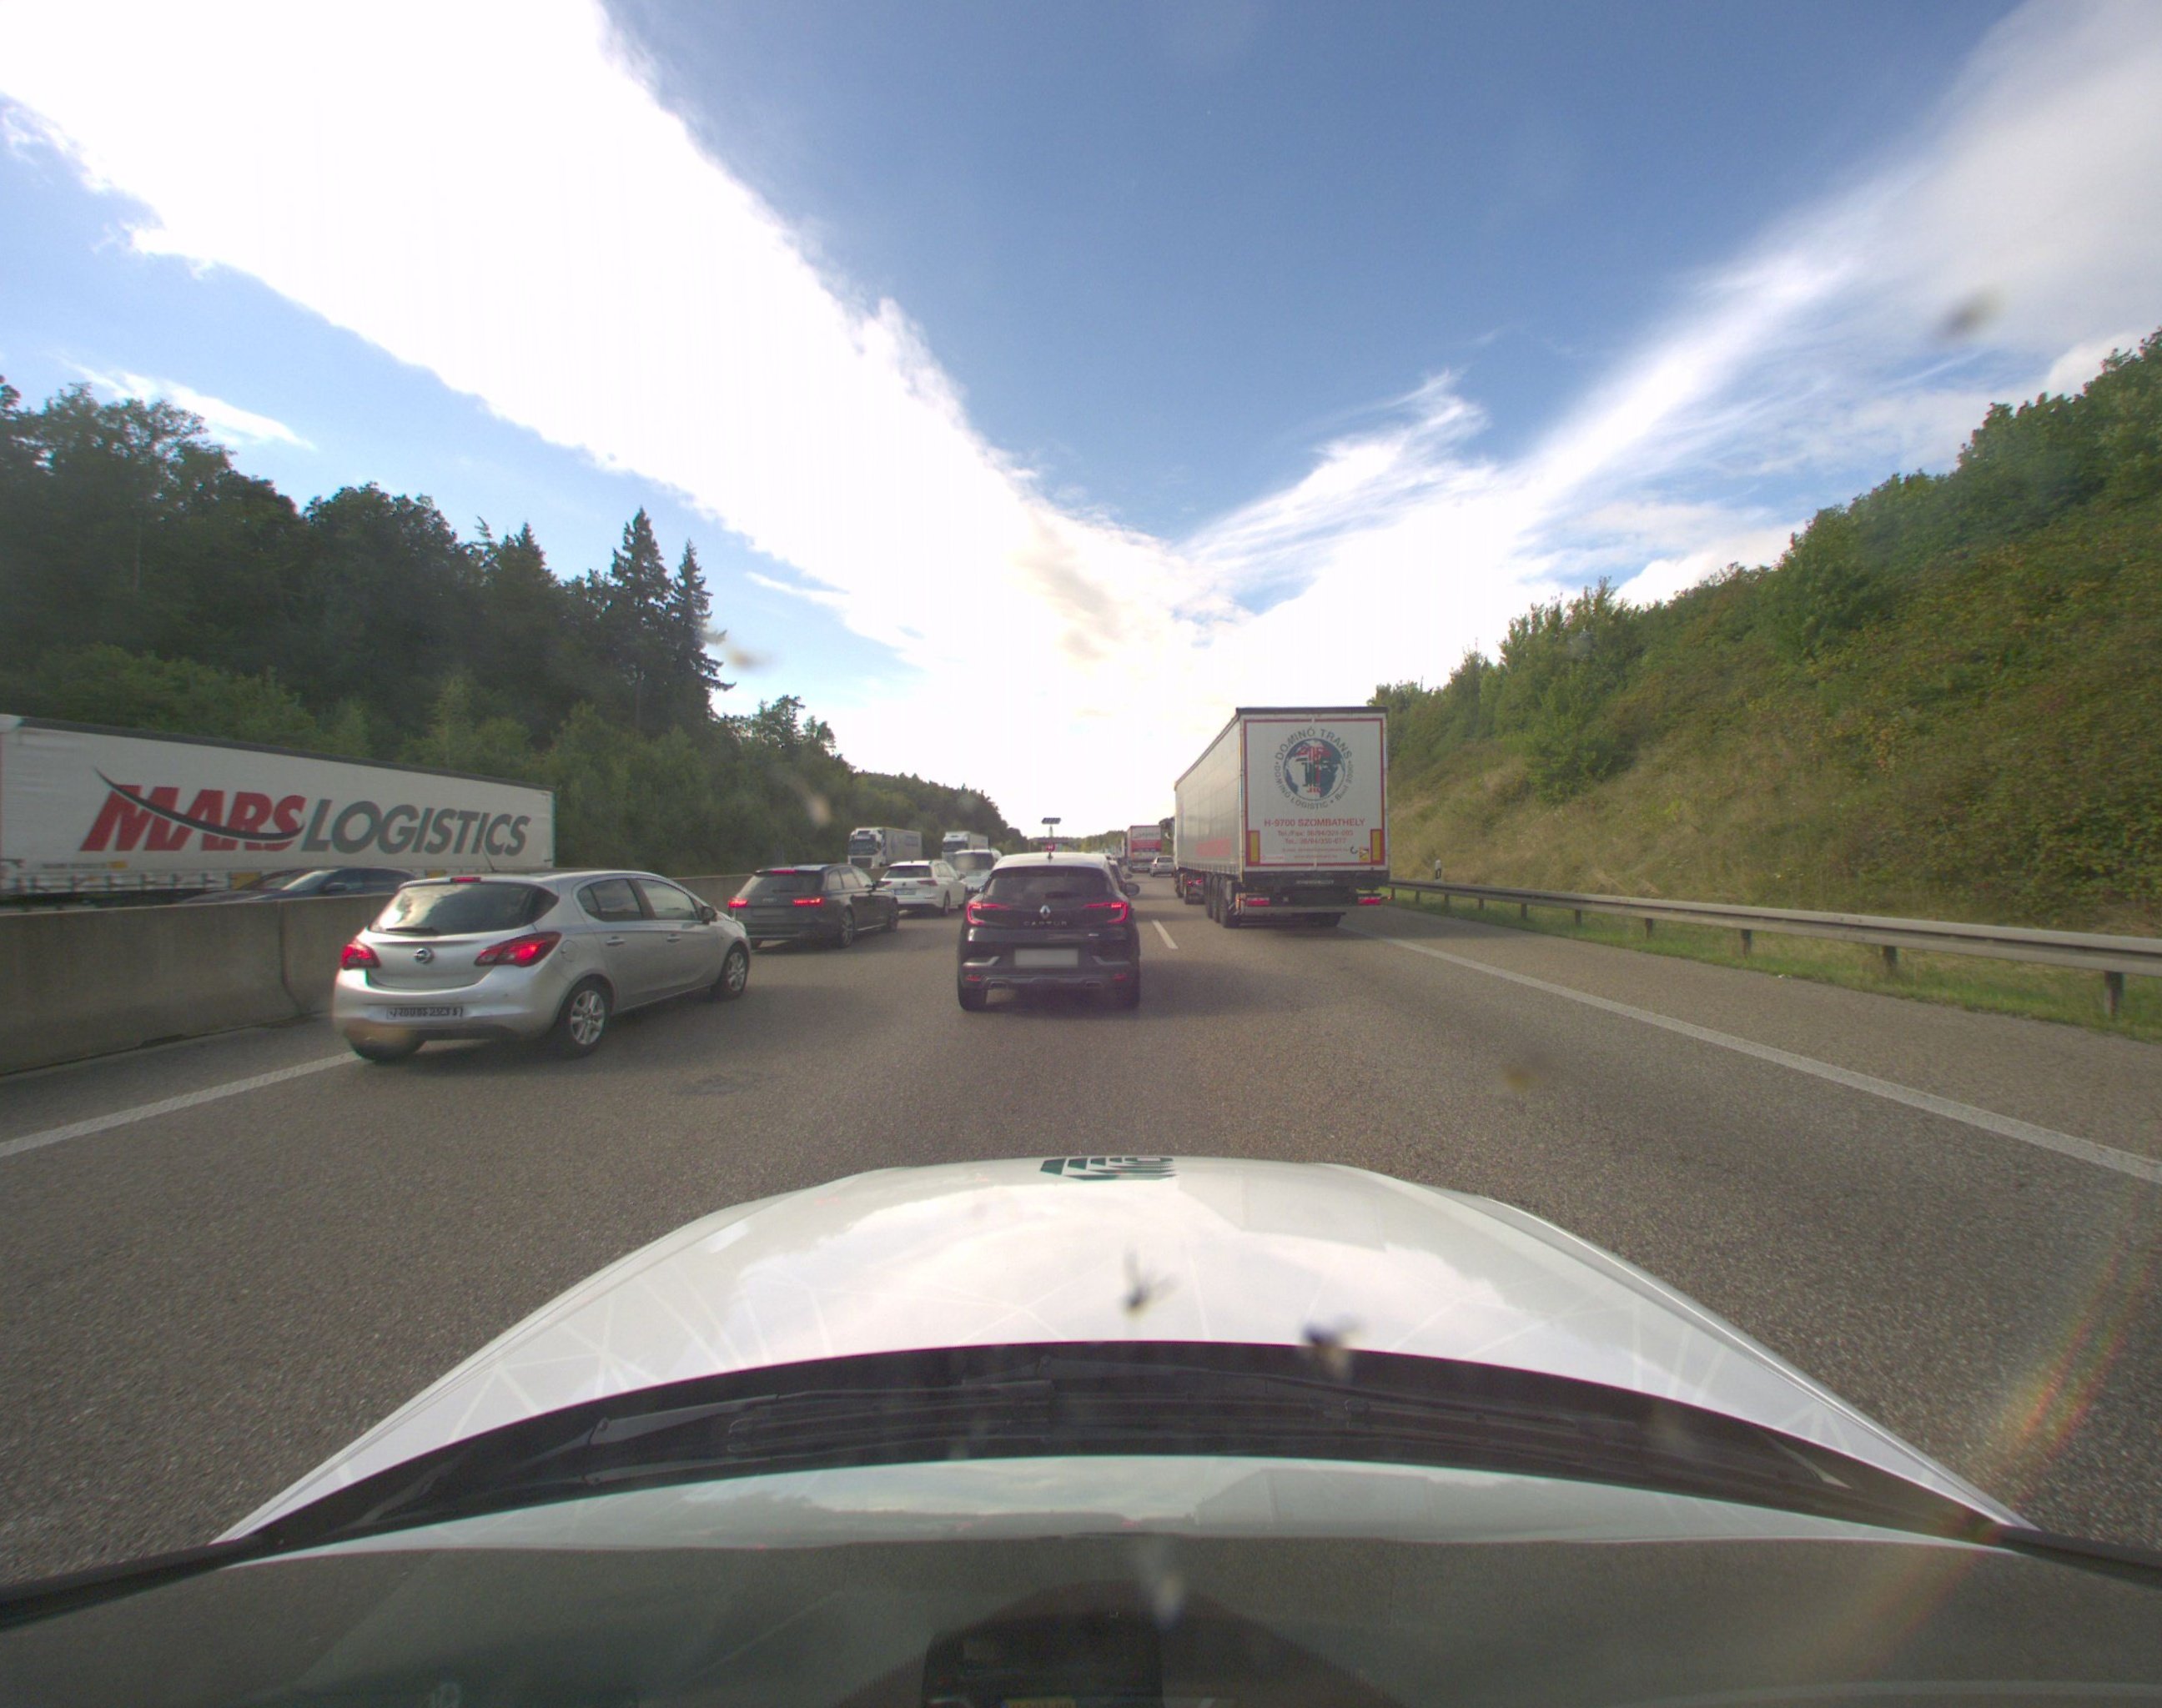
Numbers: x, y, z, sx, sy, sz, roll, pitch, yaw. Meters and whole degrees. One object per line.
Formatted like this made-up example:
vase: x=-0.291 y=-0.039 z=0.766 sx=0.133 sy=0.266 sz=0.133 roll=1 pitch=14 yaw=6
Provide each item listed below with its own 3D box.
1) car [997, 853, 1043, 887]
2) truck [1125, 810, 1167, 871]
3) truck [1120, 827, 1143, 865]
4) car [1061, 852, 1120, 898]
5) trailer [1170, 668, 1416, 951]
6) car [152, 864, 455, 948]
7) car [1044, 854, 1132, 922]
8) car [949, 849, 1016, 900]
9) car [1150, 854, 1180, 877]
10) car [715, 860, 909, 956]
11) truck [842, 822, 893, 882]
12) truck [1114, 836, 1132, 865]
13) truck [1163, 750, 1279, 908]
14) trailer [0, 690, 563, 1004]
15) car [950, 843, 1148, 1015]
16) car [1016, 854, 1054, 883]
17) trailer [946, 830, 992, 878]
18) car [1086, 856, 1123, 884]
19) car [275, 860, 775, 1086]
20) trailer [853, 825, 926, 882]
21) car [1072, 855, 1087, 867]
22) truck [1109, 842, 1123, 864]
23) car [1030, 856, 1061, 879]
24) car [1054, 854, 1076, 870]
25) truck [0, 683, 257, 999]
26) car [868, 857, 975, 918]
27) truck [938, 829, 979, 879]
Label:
car: x=-3.103 y=0.809 z=41.840 sx=1.848 sy=1.641 sz=3.928 roll=0 pitch=-1 yaw=3
truck: x=5.700 y=-1.040 z=73.300 sx=3.351 sy=5.044 sz=12.746 roll=0 pitch=-1 yaw=3
truck: x=7.595 y=-1.088 z=123.567 sx=3.153 sy=5.505 sz=12.746 roll=0 pitch=-1 yaw=3
car: x=0.414 y=0.729 z=29.321 sx=1.985 sy=1.514 sz=4.002 roll=0 pitch=-1 yaw=2
trailer: x=4.246 y=-0.731 z=20.166 sx=2.991 sy=4.661 sz=13.295 roll=-1 pitch=0 yaw=2
car: x=-15.524 y=0.951 z=16.672 sx=1.947 sy=1.428 sz=4.325 roll=0 pitch=0 yaw=2
car: x=0.254 y=0.783 z=20.387 sx=1.985 sy=1.514 sz=4.002 roll=0 pitch=-1 yaw=2
car: x=-3.686 y=0.737 z=31.140 sx=1.905 sy=1.789 sz=4.418 roll=0 pitch=-1 yaw=1
car: x=5.790 y=0.807 z=56.438 sx=1.798 sy=1.533 sz=3.926 roll=0 pitch=-1 yaw=1
car: x=-4.709 y=0.869 z=15.103 sx=1.835 sy=1.456 sz=4.751 roll=0 pitch=0 yaw=2
truck: x=-17.855 y=-0.119 z=68.343 sx=2.921 sy=4.859 sz=4.767 roll=0 pitch=-1 yaw=2
truck: x=8.443 y=-0.583 z=161.747 sx=3.152 sy=5.505 sz=12.751 roll=0 pitch=-1 yaw=4
truck: x=4.488 y=-0.736 z=27.295 sx=2.986 sy=4.667 sz=5.942 roll=-1 pitch=0 yaw=2
trailer: x=-19.247 y=-0.045 z=20.637 sx=3.030 sy=5.281 sz=13.840 roll=0 pitch=-1 yaw=2
car: x=-0.144 y=0.698 z=9.448 sx=1.796 sy=1.552 sz=4.005 roll=-1 pitch=0 yaw=4
car: x=-2.880 y=0.893 z=51.651 sx=1.985 sy=1.722 sz=4.002 roll=0 pitch=-1 yaw=2
trailer: x=-12.801 y=0.077 z=94.275 sx=3.077 sy=5.074 sz=13.838 roll=0 pitch=-1 yaw=1
car: x=1.340 y=0.894 z=45.967 sx=1.985 sy=1.514 sz=4.002 roll=0 pitch=-1 yaw=2
car: x=-4.569 y=0.829 z=7.593 sx=1.740 sy=1.465 sz=4.043 roll=-1 pitch=0 yaw=2
trailer: x=-17.584 y=0.030 z=76.140 sx=2.916 sy=4.830 sz=14.659 roll=0 pitch=-1 yaw=2
car: x=-0.206 y=0.986 z=117.196 sx=1.985 sy=1.613 sz=4.003 roll=-1 pitch=0 yaw=2
truck: x=8.499 y=-0.128 z=196.673 sx=3.153 sy=5.159 sz=12.746 roll=0 pitch=-1 yaw=3
car: x=-2.615 y=0.989 z=61.037 sx=1.985 sy=1.613 sz=4.002 roll=0 pitch=-1 yaw=2
car: x=-1.650 y=0.859 z=84.803 sx=1.985 sy=1.613 sz=4.003 roll=-1 pitch=0 yaw=2
truck: x=-19.451 y=-0.208 z=14.183 sx=3.028 sy=5.253 sz=6.885 roll=0 pitch=-1 yaw=2
car: x=-4.188 y=0.842 z=22.061 sx=1.797 sy=1.461 sz=4.312 roll=-1 pitch=-1 yaw=3
truck: x=-13.005 y=0.013 z=87.080 sx=3.076 sy=5.101 sz=7.144 roll=0 pitch=-1 yaw=2
